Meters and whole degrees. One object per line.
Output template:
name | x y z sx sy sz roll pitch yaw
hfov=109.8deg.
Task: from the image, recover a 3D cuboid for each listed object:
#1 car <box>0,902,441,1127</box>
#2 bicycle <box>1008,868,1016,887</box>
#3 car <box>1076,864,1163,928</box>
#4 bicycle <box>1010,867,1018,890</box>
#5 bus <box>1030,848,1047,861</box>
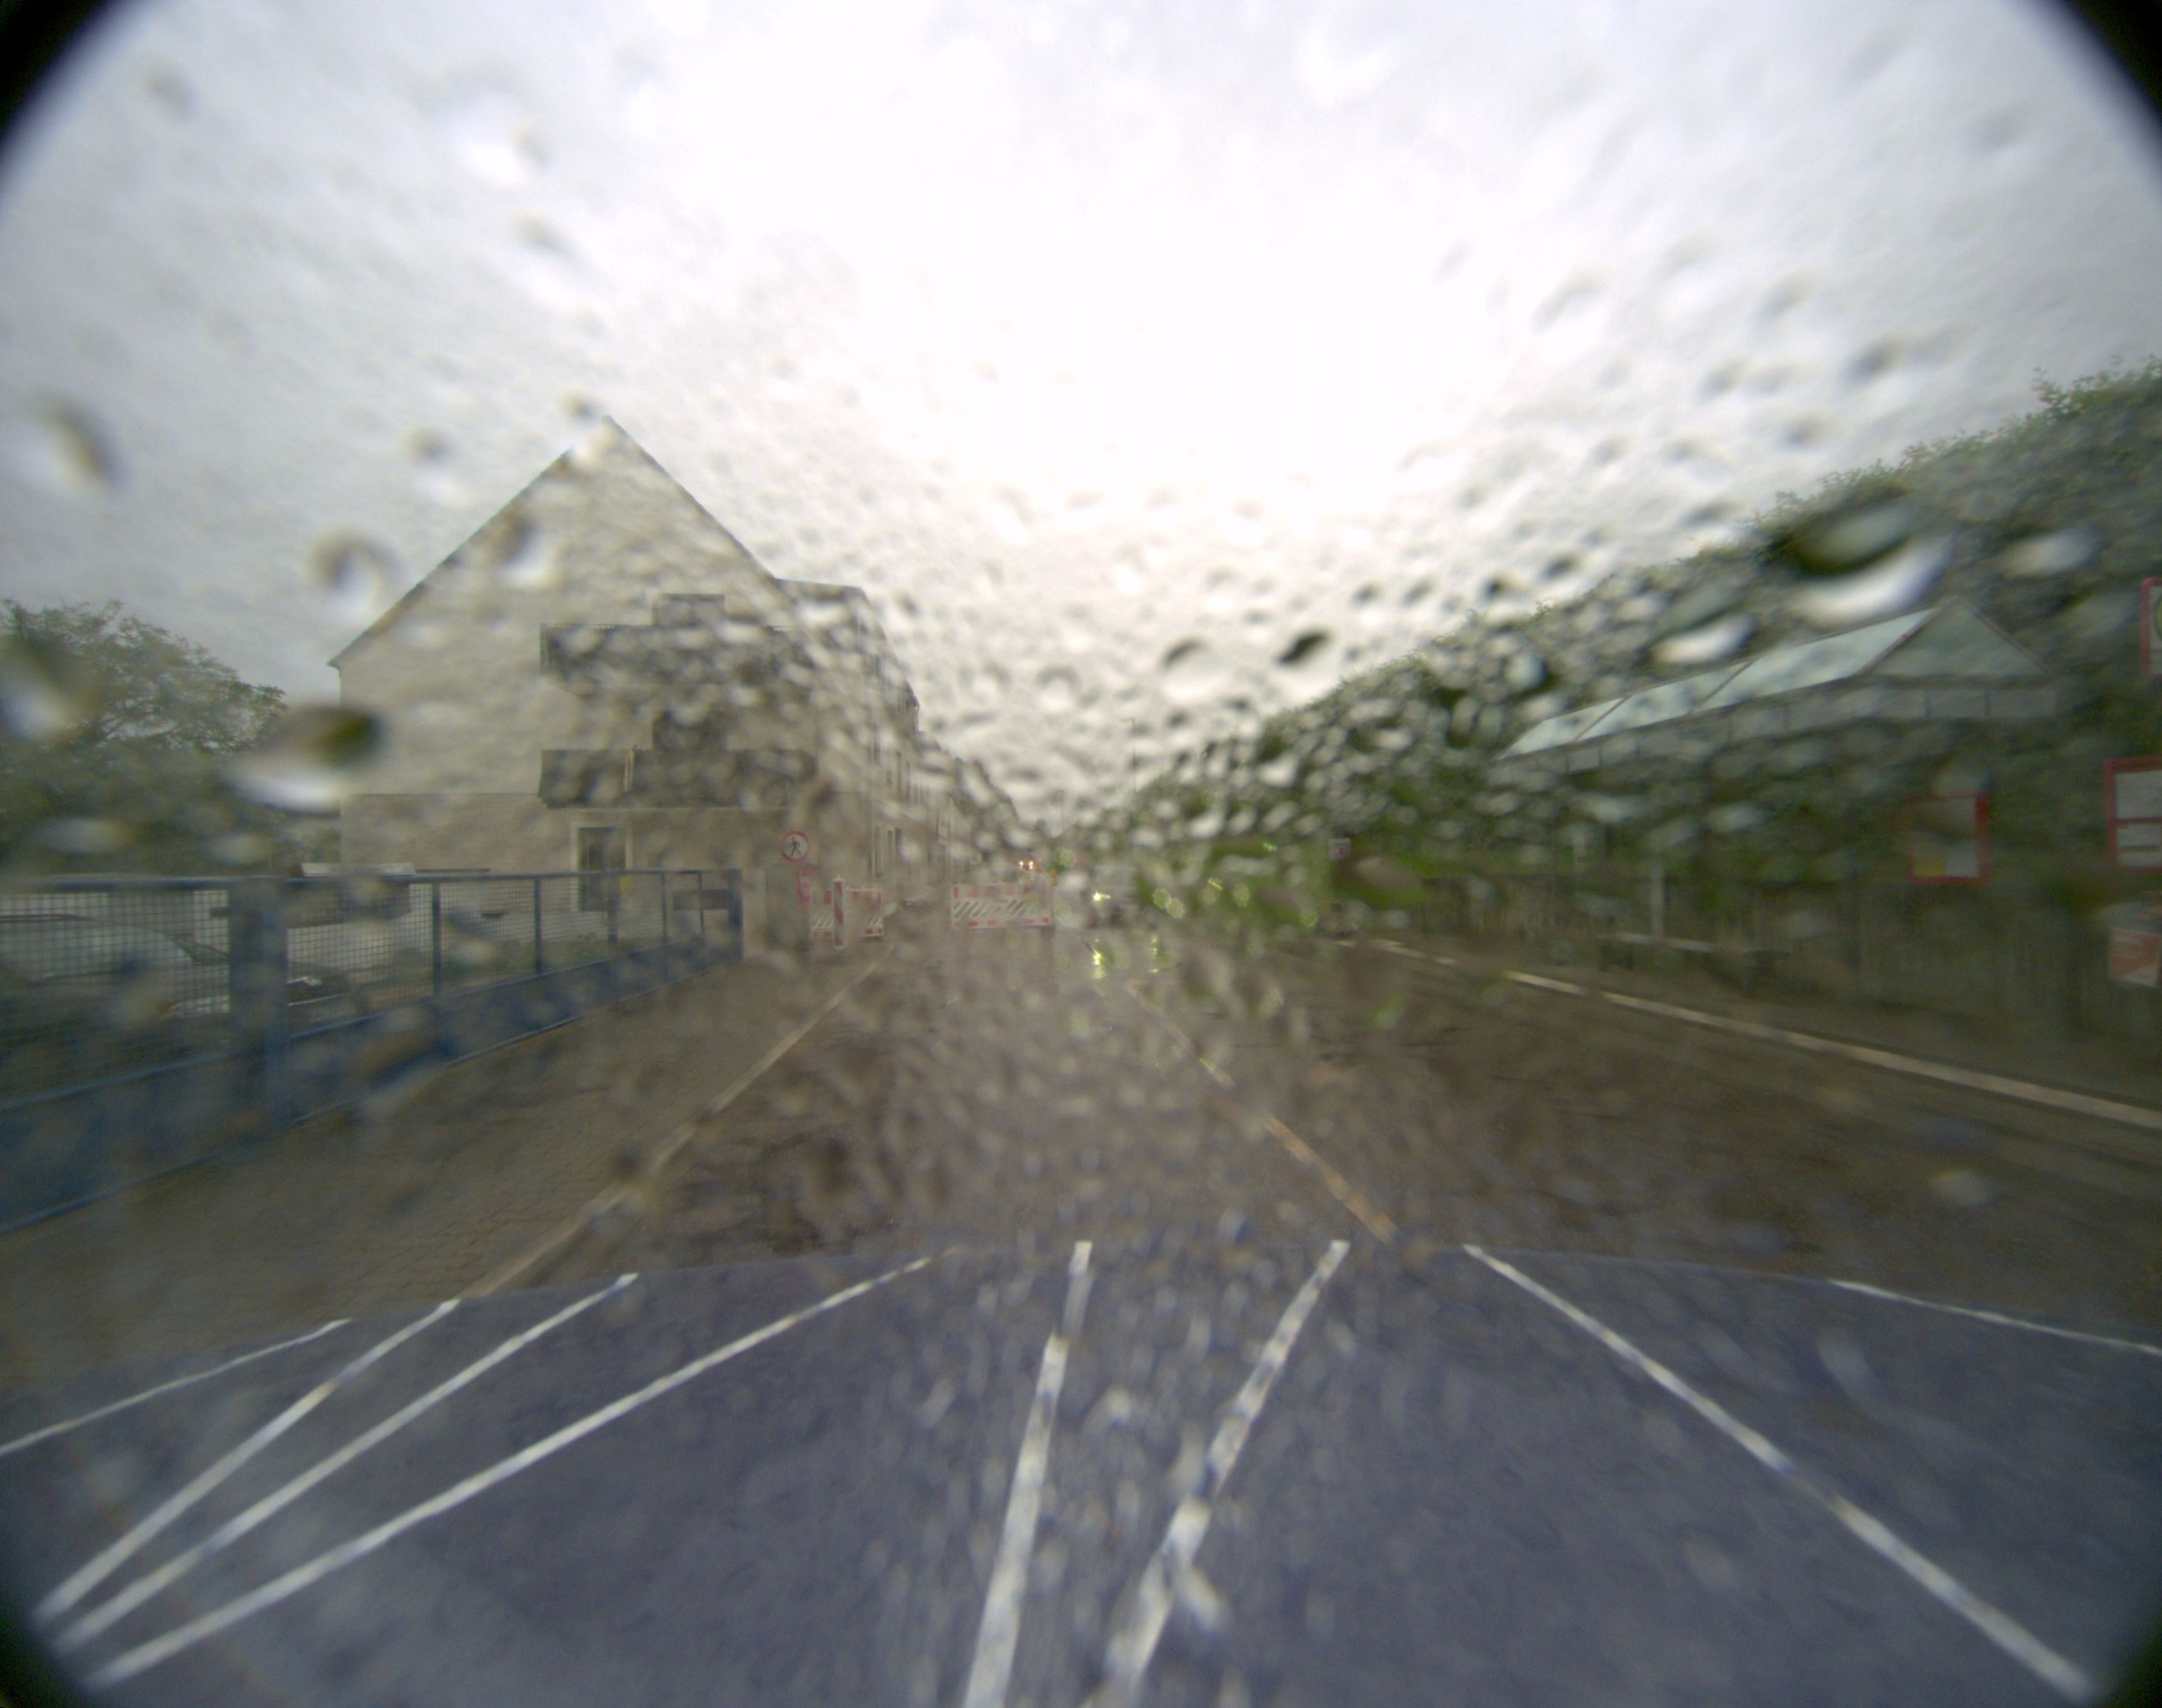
car | -8.096 1.254 6.040 4.156 1.294 1.911 -4 1 -6
bicycle | -3.724 1.274 41.202 0.407 1.023 1.220 0 1 -4
car | 0.895 1.035 20.409 1.852 1.444 4.530 0 0 -3
bicycle | -3.434 1.232 38.985 0.407 1.137 1.220 0 1 -4
bus | -9.631 0.061 173.551 2.685 2.987 14.547 0 0 2
